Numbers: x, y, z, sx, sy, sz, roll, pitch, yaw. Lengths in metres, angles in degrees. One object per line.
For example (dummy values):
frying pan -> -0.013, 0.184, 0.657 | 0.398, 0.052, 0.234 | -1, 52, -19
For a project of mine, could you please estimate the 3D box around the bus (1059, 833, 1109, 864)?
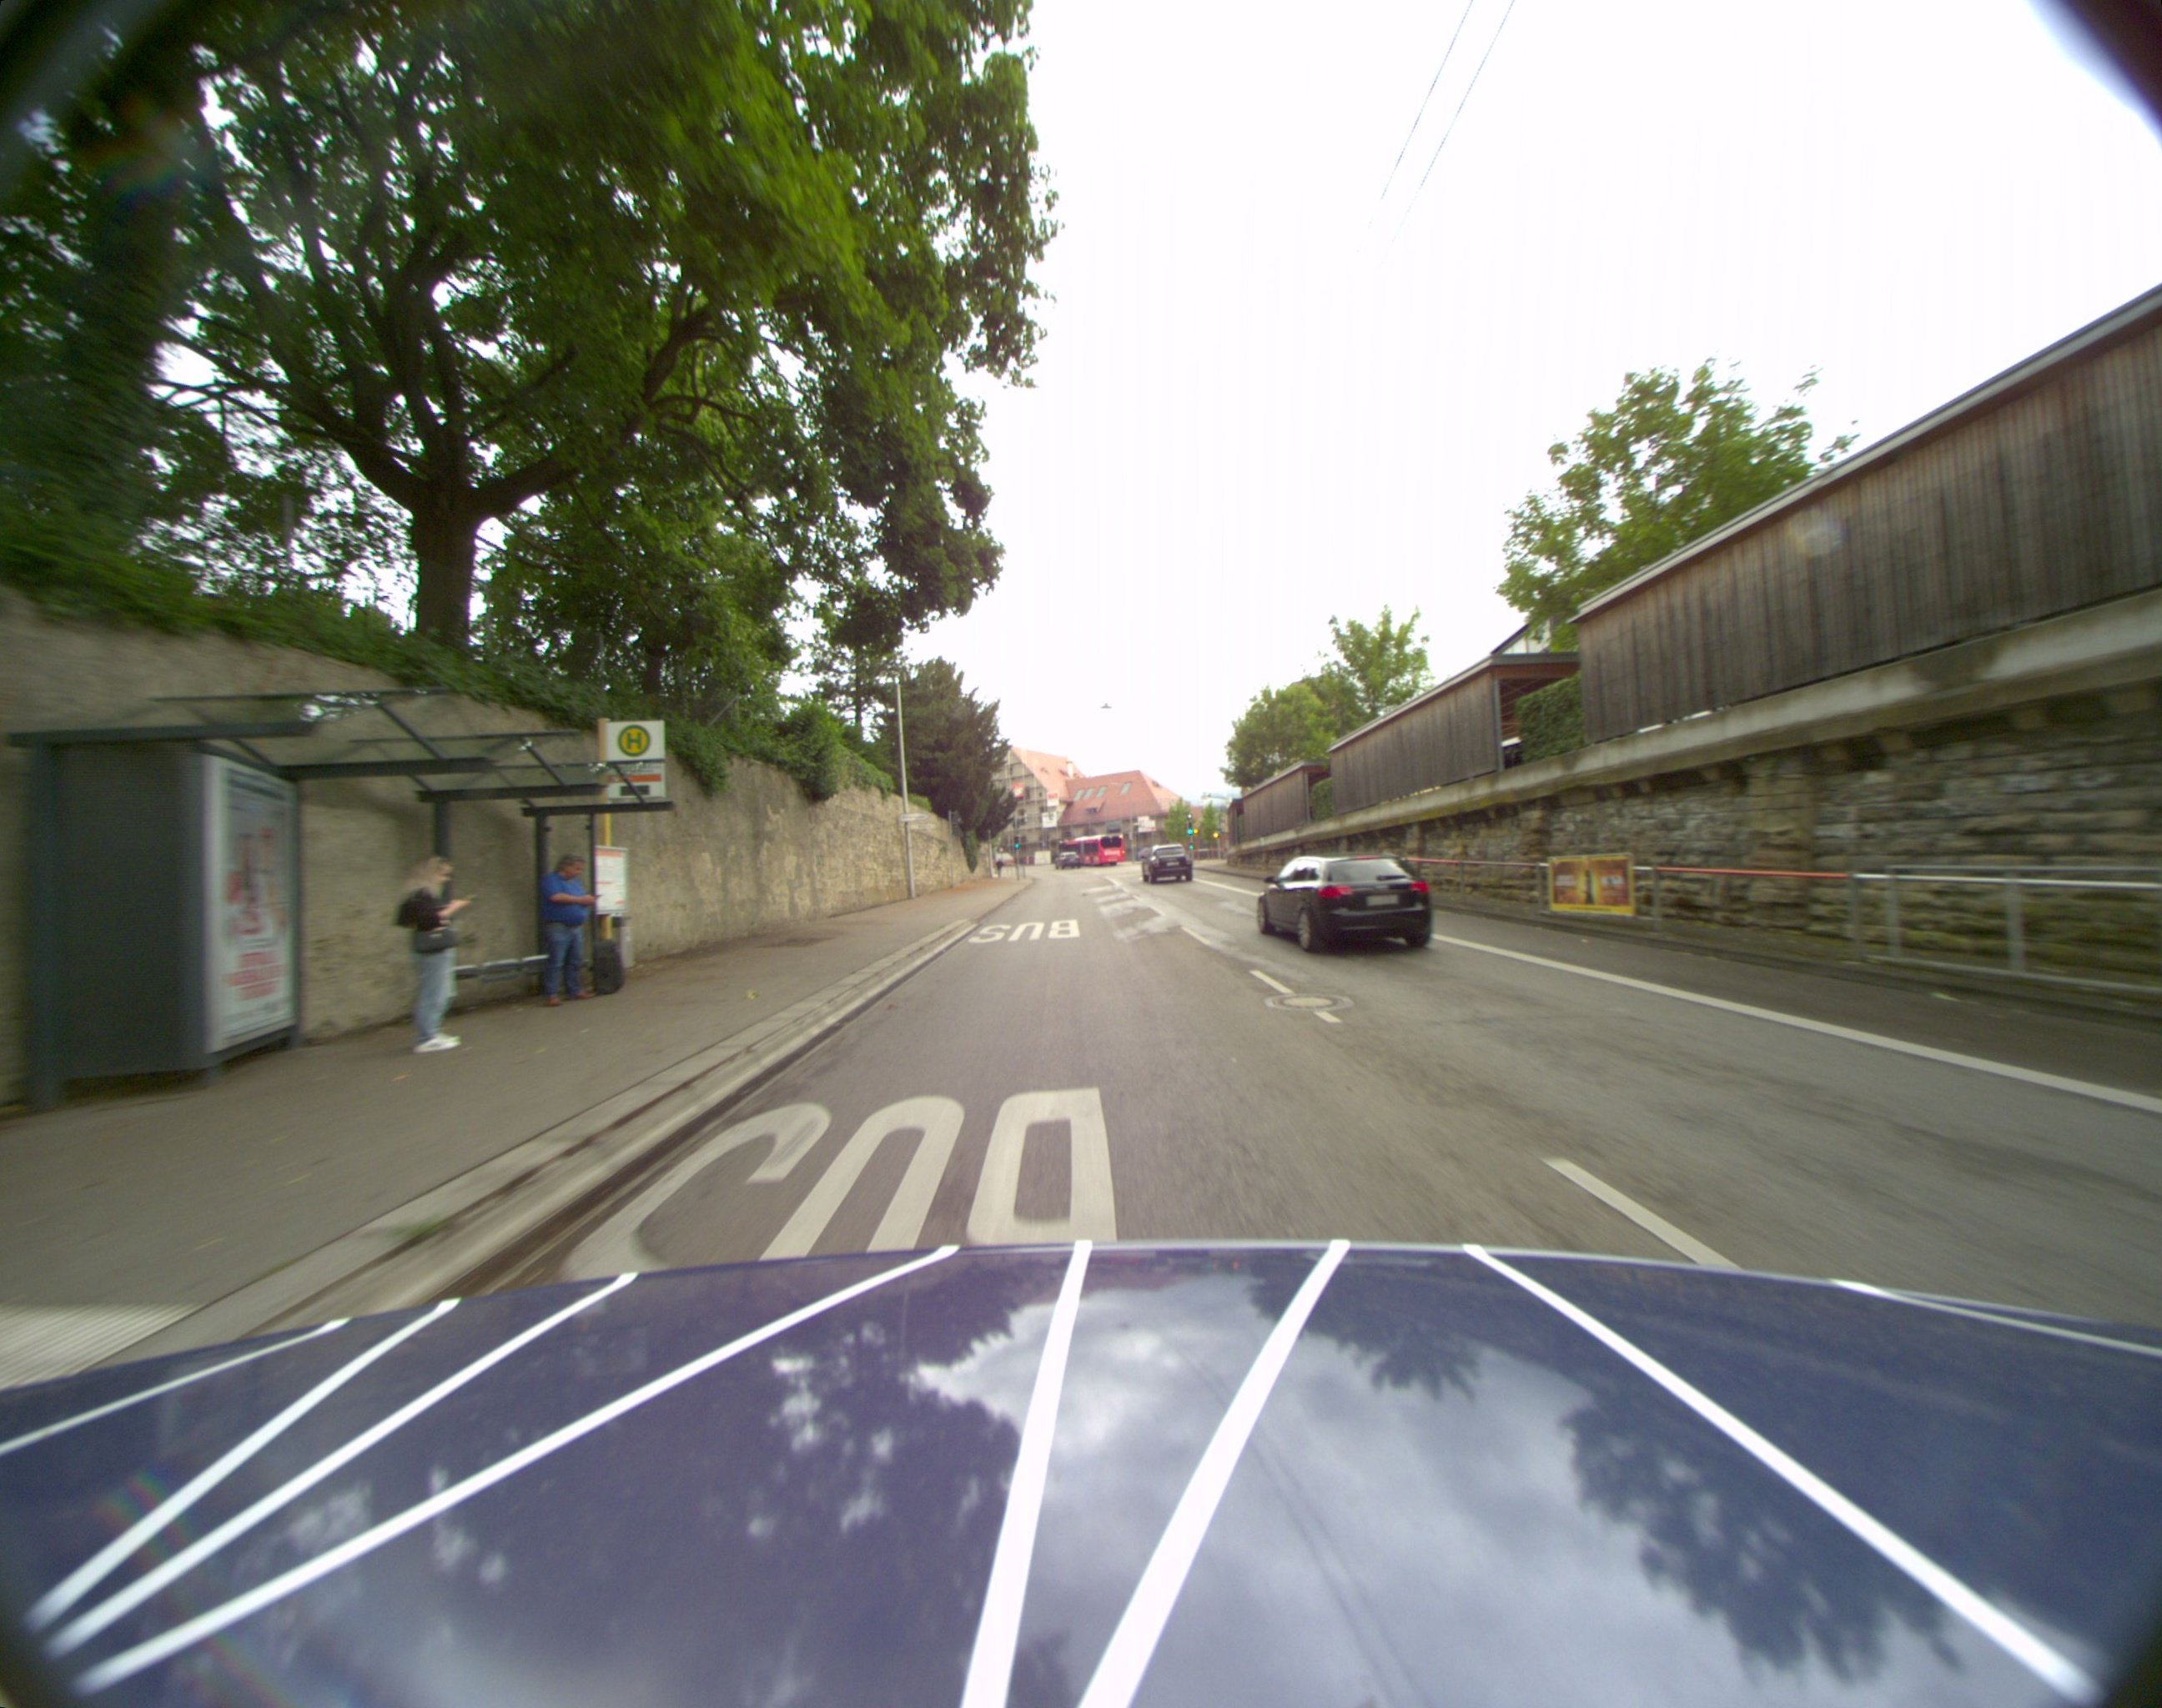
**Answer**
bus -> 0.242, -0.586, 87.242 | 2.667, 3.104, 10.005 | -5, 1, -17

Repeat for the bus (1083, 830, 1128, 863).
bus -> 2.395, -0.704, 78.689 | 2.666, 3.104, 8.285 | -5, 1, -11

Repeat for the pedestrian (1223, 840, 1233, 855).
pedestrian -> 17.994, -0.803, 92.860 | 0.796, 1.710, 0.927 | -1, 1, 38

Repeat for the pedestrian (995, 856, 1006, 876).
pedestrian -> -6.217, 0.915, 58.682 | 0.733, 1.567, 0.743 | -1, 0, -4

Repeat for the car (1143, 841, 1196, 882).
car -> 4.110, 0.323, 35.973 | 1.899, 1.746, 4.436 | -2, 1, -1

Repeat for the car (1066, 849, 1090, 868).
car -> -0.361, 0.429, 75.398 | 1.927, 1.621, 4.520 | -6, 1, -4

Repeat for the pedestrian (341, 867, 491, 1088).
pedestrian -> -5.250, 0.902, 6.007 | 0.735, 1.578, 0.775 | -1, 0, 41

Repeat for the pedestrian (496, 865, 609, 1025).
pedestrian -> -5.724, 0.955, 8.266 | 0.723, 1.633, 0.630 | -2, 1, -5

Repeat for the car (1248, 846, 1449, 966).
car -> 3.986, 0.665, 12.068 | 1.739, 1.524, 3.999 | -2, 1, 0

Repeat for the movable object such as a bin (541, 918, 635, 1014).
movable object such as a bin -> -5.774, 1.295, 8.937 | 0.676, 1.014, 0.626 | -2, 0, -6
